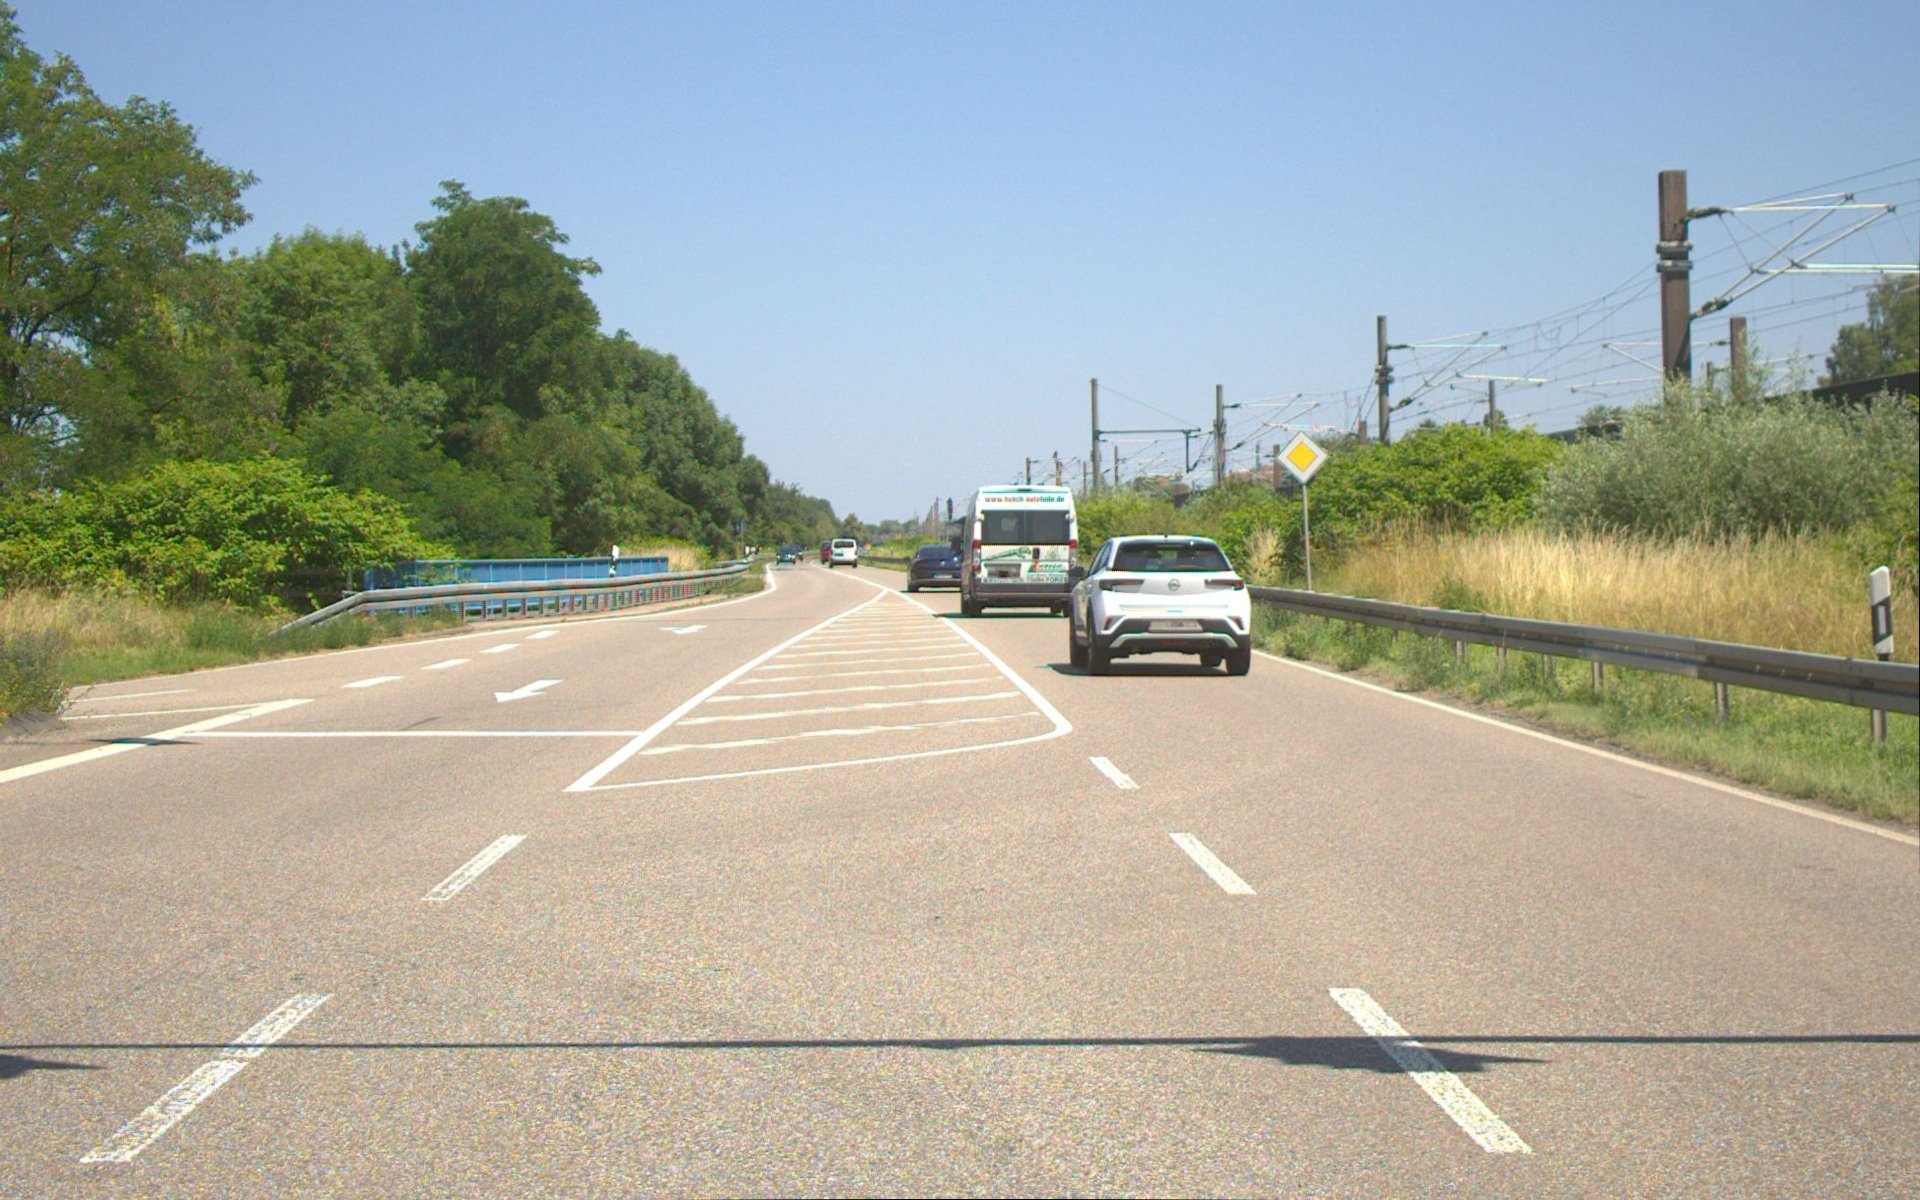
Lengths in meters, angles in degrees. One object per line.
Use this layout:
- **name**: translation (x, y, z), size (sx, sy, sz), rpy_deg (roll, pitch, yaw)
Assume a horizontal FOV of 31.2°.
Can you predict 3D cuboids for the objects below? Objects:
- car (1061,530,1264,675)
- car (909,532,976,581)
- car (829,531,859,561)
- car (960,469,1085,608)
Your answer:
- **car**: translation (2.232, -0.013, 39.026), size (1.817, 1.558, 4.279), rpy_deg (0, 1, -3)
- **car**: translation (-0.538, -1.311, 102.395), size (1.856, 1.375, 4.504), rpy_deg (1, 1, -2)
- **car**: translation (-7.888, -3.682, 234.340), size (1.993, 1.977, 4.060), rpy_deg (1, 1, -2)
- **car**: translation (1.164, -1.227, 67.871), size (2.188, 2.595, 6.751), rpy_deg (1, 1, -1)
